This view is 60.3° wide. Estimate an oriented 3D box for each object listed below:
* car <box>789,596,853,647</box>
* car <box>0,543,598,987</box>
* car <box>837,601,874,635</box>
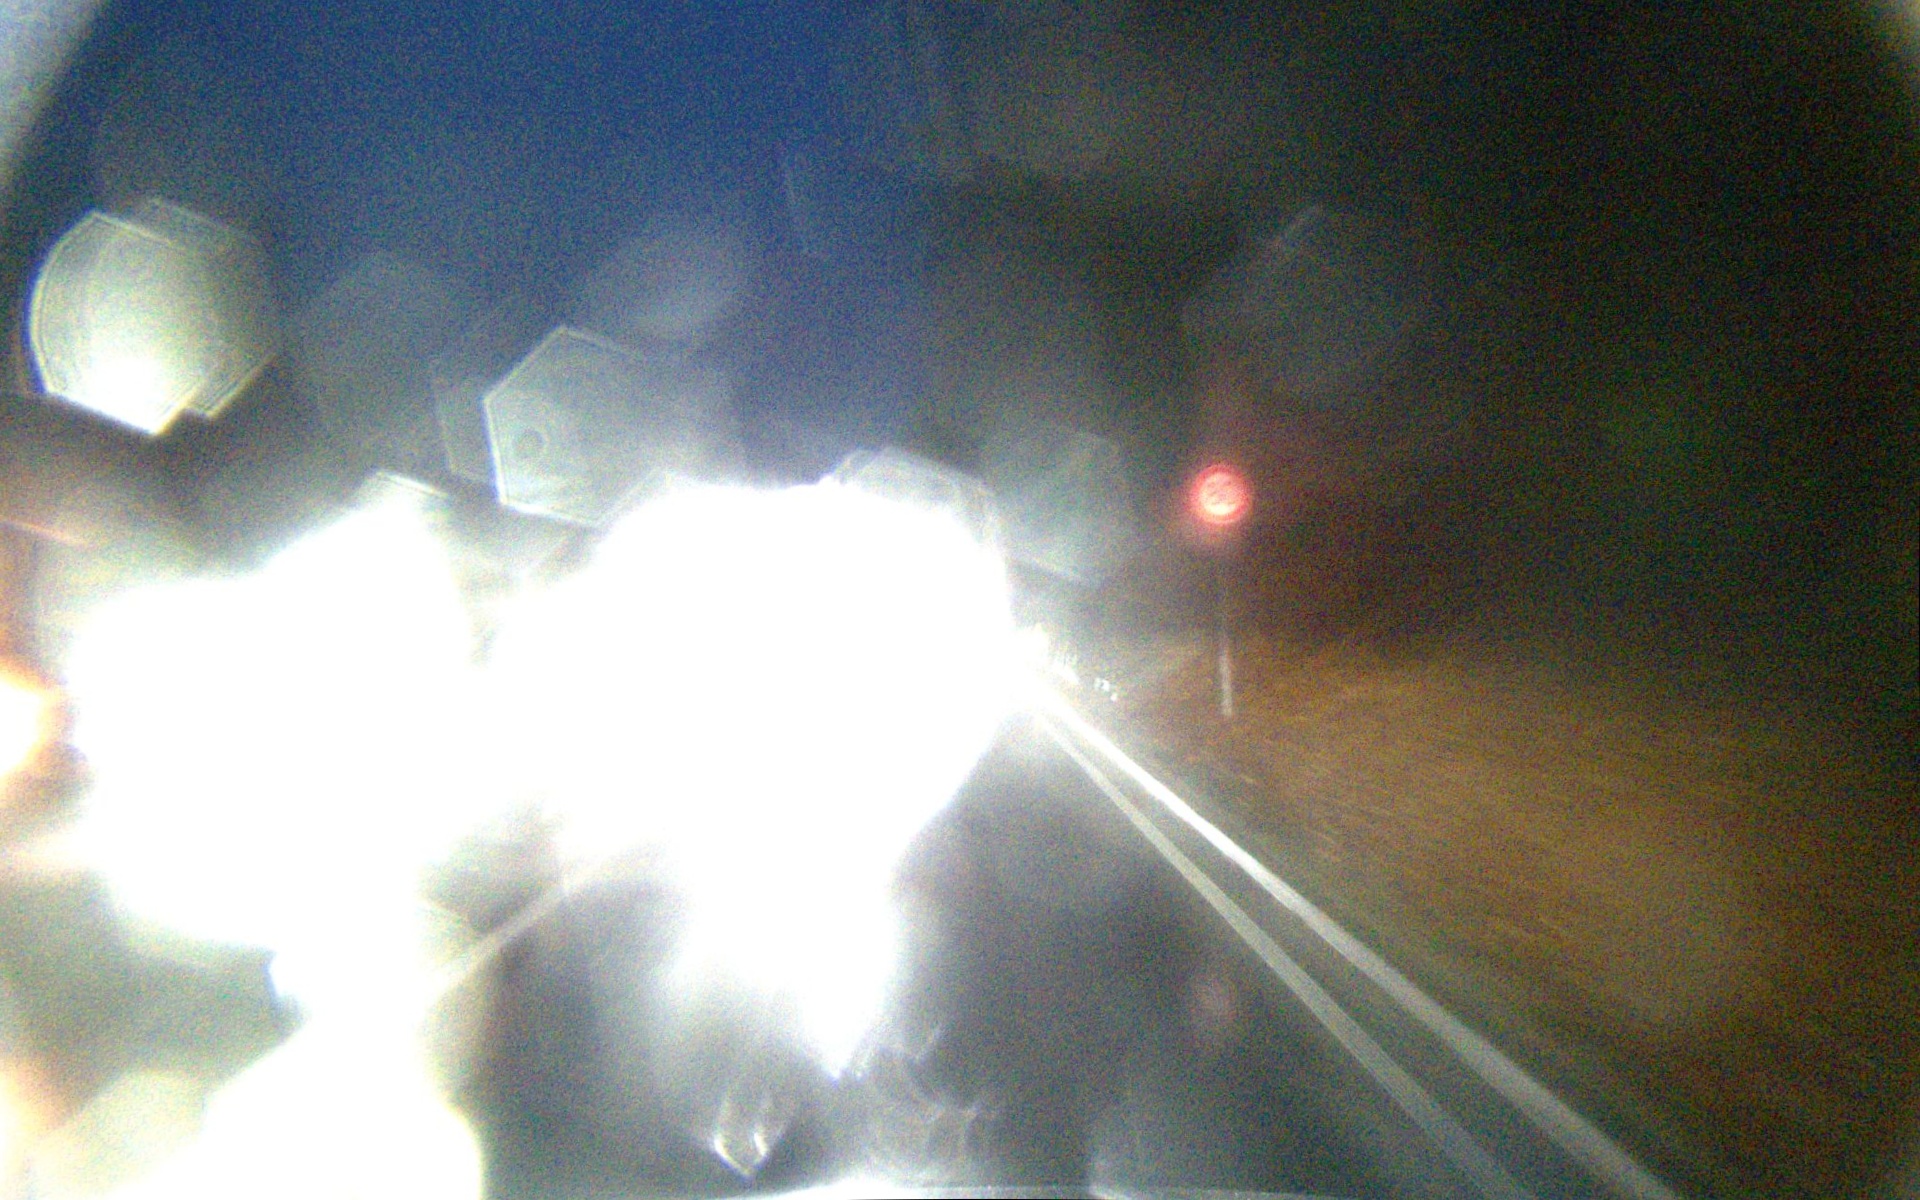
[{"bbox_3d":[-4.548,0.693,54.657,1.793,1.582,4.440,1,0,-2],"label":"car"},{"bbox_3d":[-3.345,0.630,8.630,1.907,1.667,4.820,0,0,-1],"label":"car"},{"bbox_3d":[-5.066,0.879,80.406,1.681,1.581,3.998,1,0,-3],"label":"car"}]
